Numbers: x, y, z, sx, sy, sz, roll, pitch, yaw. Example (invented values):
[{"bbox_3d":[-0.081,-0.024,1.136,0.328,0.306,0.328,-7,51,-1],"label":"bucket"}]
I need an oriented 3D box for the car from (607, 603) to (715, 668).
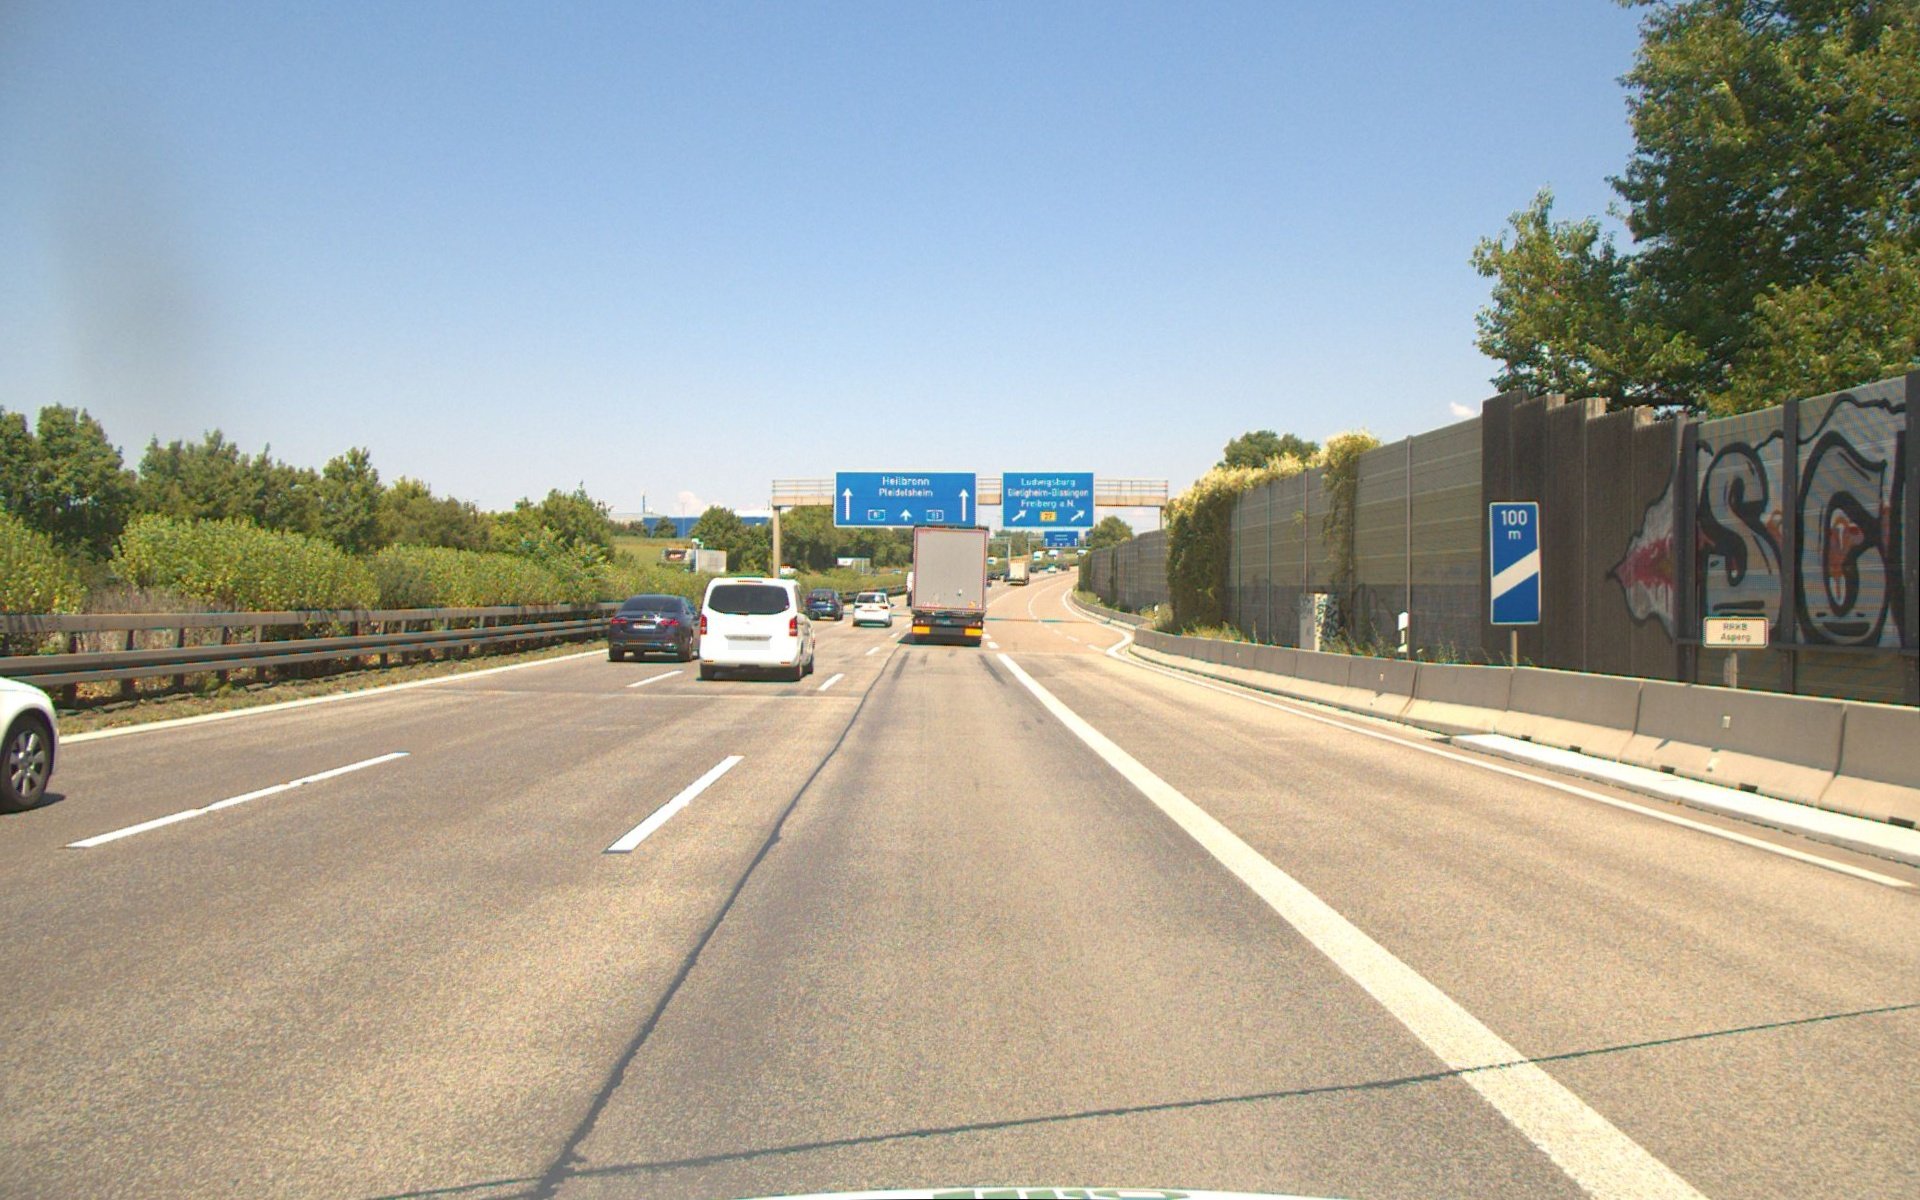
[{"bbox_3d":[-7.007,0.791,39.186,1.721,1.433,5.038,0,0,-1],"label":"car"}]

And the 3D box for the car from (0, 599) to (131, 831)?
[{"bbox_3d":[-7.014,0.722,9.645,1.838,1.466,5.124,1,0,-1],"label":"car"}]

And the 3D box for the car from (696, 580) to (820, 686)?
[{"bbox_3d":[-3.809,0.590,31.892,1.891,1.884,4.691,0,0,-1],"label":"car"}]

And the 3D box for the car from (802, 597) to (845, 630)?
[{"bbox_3d":[-7.323,0.723,89.384,1.865,1.719,4.631,0,0,1],"label":"car"}]

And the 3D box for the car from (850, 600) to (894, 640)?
[{"bbox_3d":[-4.214,0.942,79.659,1.865,1.884,4.631,0,0,0],"label":"car"}]

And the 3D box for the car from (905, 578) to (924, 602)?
[{"bbox_3d":[-4.780,-1.071,175.782,1.953,2.416,3.999,1,-1,-1],"label":"car"}]

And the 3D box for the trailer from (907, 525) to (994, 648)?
[{"bbox_3d":[-0.302,-0.446,60.971,2.868,4.086,12.037,0,0,0],"label":"trailer"}]

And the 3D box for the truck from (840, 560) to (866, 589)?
[{"bbox_3d":[-15.920,-3.805,246.708,2.940,4.036,10.323,1,1,1],"label":"truck"}]
